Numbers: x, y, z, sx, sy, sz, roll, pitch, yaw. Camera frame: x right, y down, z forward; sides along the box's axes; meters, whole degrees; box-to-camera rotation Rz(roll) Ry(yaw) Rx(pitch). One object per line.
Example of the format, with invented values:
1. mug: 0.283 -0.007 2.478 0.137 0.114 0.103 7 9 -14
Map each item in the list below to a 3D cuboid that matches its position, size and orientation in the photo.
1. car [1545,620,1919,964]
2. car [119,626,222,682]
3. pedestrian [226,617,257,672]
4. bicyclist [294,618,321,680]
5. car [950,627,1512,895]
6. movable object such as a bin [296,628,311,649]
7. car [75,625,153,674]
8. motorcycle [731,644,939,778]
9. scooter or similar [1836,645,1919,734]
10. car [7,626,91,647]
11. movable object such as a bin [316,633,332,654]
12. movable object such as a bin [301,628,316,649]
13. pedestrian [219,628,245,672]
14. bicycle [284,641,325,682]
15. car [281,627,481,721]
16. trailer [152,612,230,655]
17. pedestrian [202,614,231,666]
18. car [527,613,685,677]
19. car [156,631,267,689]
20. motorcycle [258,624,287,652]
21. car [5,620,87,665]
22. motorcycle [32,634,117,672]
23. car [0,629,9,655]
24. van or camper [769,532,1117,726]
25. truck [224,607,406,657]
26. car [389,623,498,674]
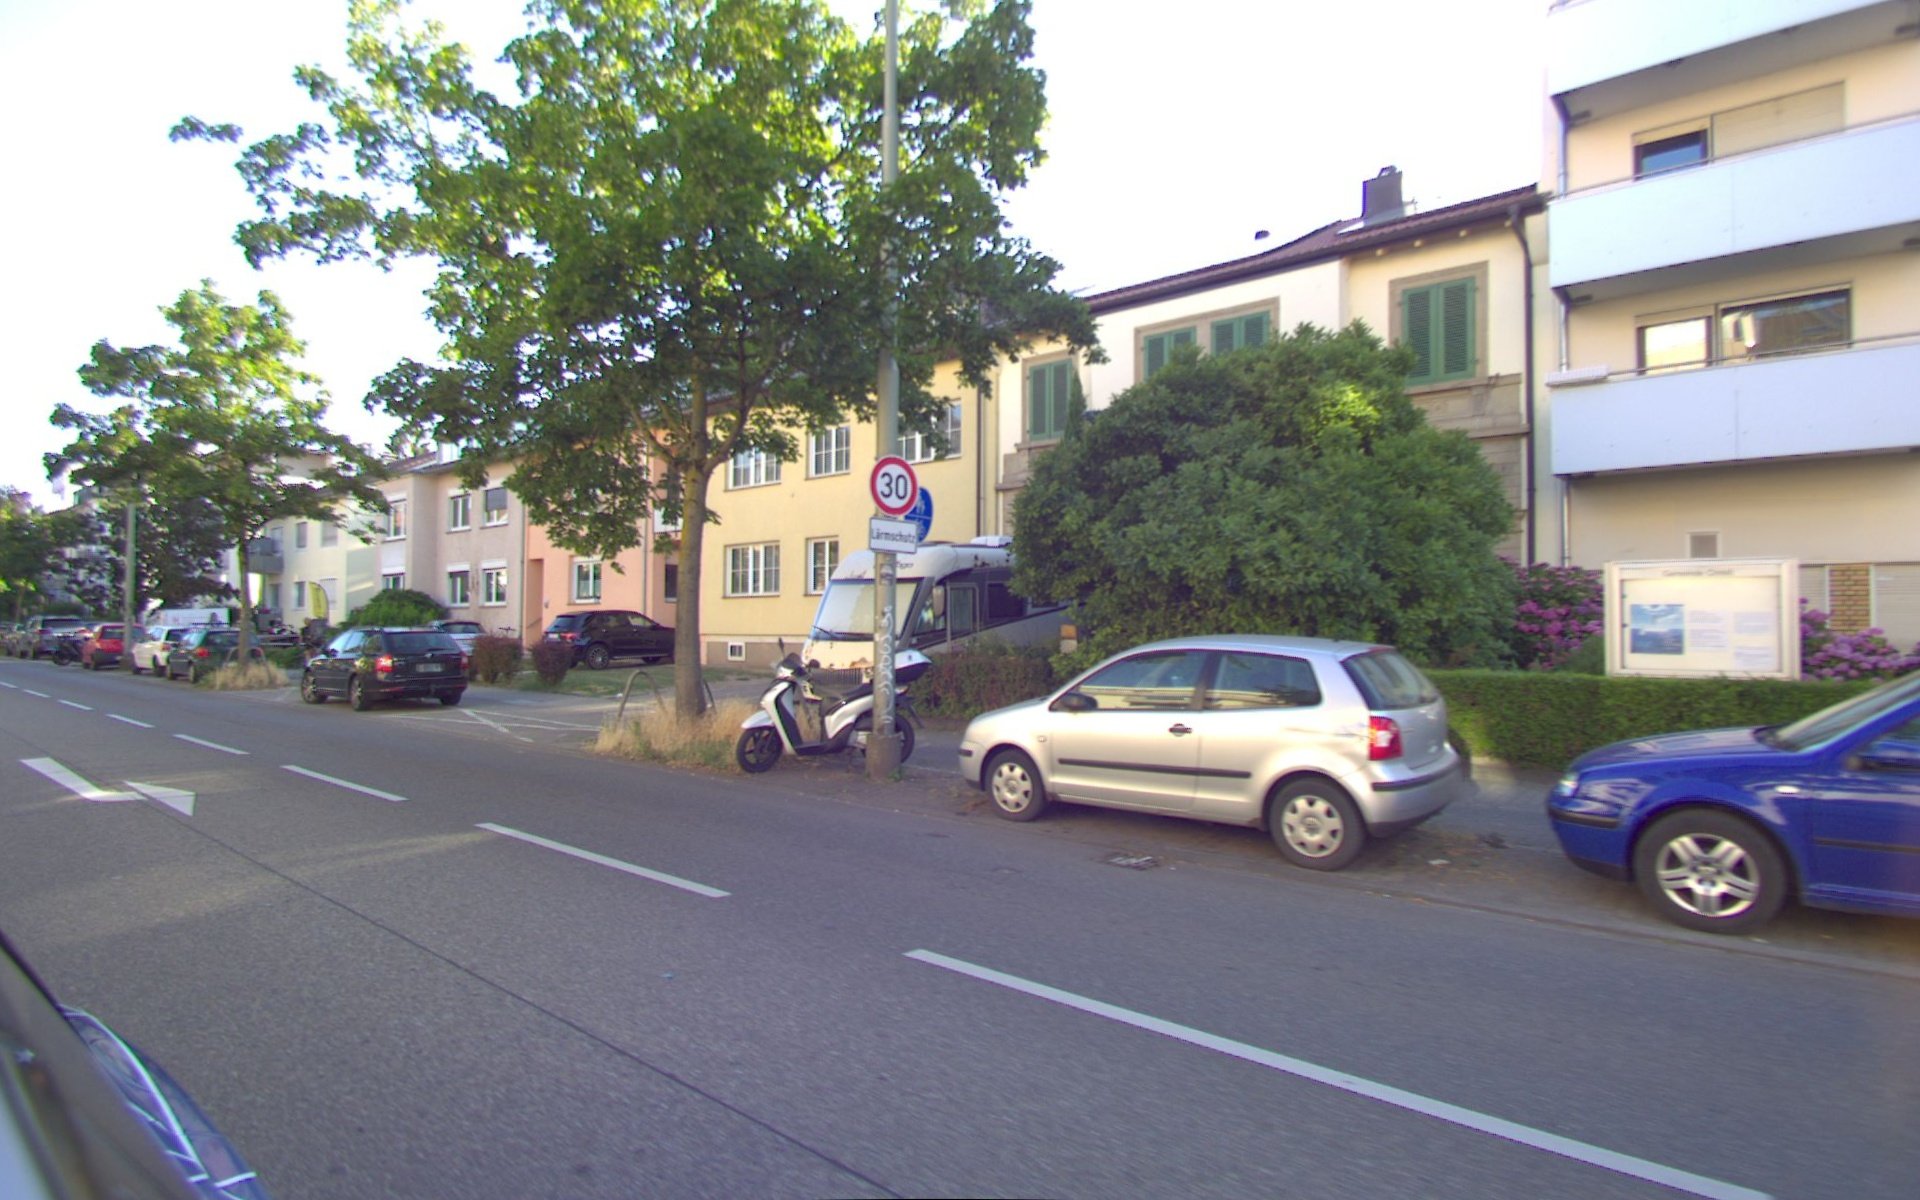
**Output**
1. car: 5.276 0.870 4.827 4.071 1.529 1.632 -1 -1 41
2. car: -23.481 1.555 30.049 3.887 1.535 1.577 -1 -2 39
3. pedestrian: -23.964 1.465 33.765 0.572 1.806 0.706 -2 -3 43
4. bicyclist: -17.847 1.333 27.680 0.552 1.676 0.464 -2 -3 40
5. car: 1.877 0.975 7.668 3.801 1.481 1.577 -1 0 41
6. movable object such as a bin: -33.071 1.934 50.953 0.449 1.026 0.498 -1 -3 39
7. car: -28.109 1.611 33.595 3.436 1.535 1.575 -1 -2 43
8. motorcycle: -1.280 1.097 10.311 2.021 1.274 0.769 1 -2 -11
9. scooter or similar: 12.247 1.129 12.766 1.766 1.104 0.380 -1 -3 40
10. car: -70.543 2.825 78.430 1.734 1.416 4.517 -1 0 30
11. movable object such as a bin: -31.047 2.110 49.416 0.449 1.026 0.498 -1 -3 39
12. movable object such as a bin: -32.587 1.923 50.646 0.449 1.026 0.498 -1 -3 39
13. pedestrian: -24.949 1.705 34.694 0.542 1.507 0.583 -2 -3 43
14. bicycle: -17.946 1.674 27.691 1.533 1.072 0.481 -1 -2 40
15. car: -10.900 1.276 18.915 4.514 1.506 1.848 -1 -1 41
16. trailer: -38.115 1.668 50.175 1.550 2.029 2.746 -1 -3 38
17. pedestrian: -25.945 1.396 35.306 0.506 1.806 0.706 -2 -3 43
18. car: -10.205 1.239 29.373 1.865 1.648 3.945 -1 0 41
19. car: -19.659 1.520 26.551 3.663 1.407 1.527 -1 -2 40
20. motorcycle: -34.945 1.935 51.431 2.257 1.384 0.564 -1 -4 40
21. car: -38.845 1.774 42.974 4.721 1.793 1.868 -1 -2 39
22. motorcycle: -31.527 1.870 36.047 2.349 1.276 1.176 0 -2 17
23. car: -52.865 2.249 54.698 4.440 1.418 1.620 -1 -2 40
24. van or camper: 0.020 0.385 17.923 2.350 2.793 6.730 -1 0 39
25. truck: -30.065 1.498 47.446 2.275 2.202 6.824 -1 -2 40
26. car: -15.499 1.425 30.287 3.751 1.420 1.647 -2 -3 42
